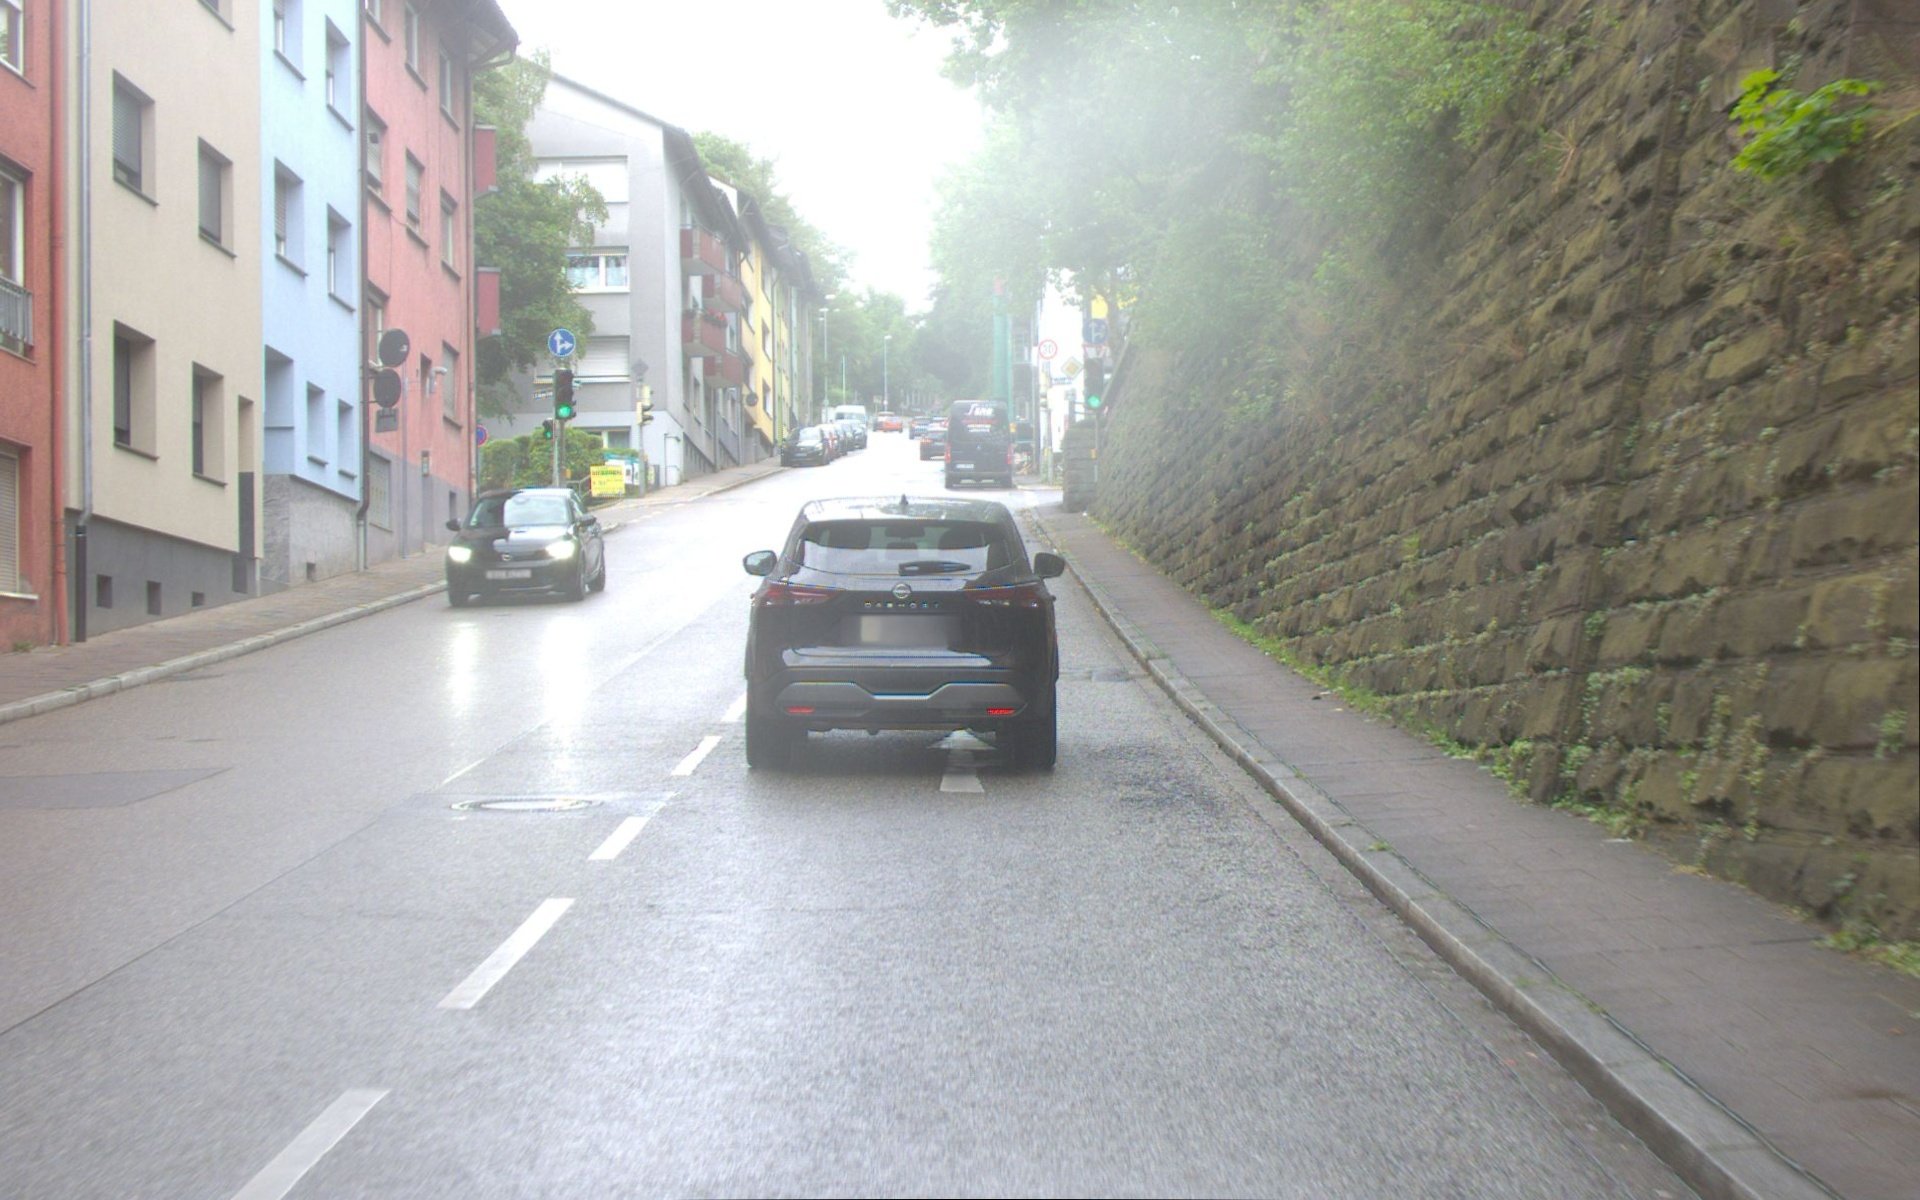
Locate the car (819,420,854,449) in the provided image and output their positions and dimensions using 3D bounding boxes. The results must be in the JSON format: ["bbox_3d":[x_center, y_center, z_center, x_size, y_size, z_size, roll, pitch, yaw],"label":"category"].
[{"bbox_3d":[-6.867,-9.195,190.984,1.794,1.505,4.000,-1,2,0],"label":"car"}]

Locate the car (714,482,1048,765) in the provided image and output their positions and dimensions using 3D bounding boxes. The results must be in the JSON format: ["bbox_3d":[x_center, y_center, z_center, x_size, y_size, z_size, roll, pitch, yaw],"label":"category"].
[{"bbox_3d":[-0.520,0.101,21.358,1.881,1.588,3.922,0,1,-2],"label":"car"}]

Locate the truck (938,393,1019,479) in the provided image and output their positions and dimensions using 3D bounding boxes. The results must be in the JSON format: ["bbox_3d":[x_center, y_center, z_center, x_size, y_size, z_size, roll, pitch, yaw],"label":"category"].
[{"bbox_3d":[0.528,-4.838,101.929,2.289,2.431,4.453,-1,2,0],"label":"truck"}]

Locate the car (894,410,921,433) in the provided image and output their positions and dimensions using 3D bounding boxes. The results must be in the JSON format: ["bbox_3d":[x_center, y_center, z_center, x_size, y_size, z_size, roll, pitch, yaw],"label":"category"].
[{"bbox_3d":[-3.753,-12.731,245.692,1.794,1.505,4.000,-1,2,0],"label":"car"}]

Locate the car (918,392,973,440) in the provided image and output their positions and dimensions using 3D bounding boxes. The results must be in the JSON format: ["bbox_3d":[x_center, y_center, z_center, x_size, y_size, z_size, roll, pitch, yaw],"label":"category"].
[{"bbox_3d":[-0.480,-6.234,116.820,1.794,1.505,4.500,-1,2,0],"label":"car"}]

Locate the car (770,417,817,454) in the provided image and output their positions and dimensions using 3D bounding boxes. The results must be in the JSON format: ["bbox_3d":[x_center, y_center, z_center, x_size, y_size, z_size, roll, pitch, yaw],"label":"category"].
[{"bbox_3d":[-7.123,-7.031,147.126,1.794,1.505,4.000,-1,2,0],"label":"car"}]

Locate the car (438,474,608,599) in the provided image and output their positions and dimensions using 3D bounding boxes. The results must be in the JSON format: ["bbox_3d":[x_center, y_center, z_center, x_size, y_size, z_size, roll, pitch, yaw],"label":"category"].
[{"bbox_3d":[-5.598,-0.854,44.427,1.714,1.443,3.922,-2,3,-1],"label":"car"}]

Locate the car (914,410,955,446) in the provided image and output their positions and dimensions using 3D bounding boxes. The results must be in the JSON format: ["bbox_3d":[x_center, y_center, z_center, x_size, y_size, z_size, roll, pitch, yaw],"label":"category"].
[{"bbox_3d":[-1.134,-7.766,155.775,1.794,1.505,4.000,-1,2,0],"label":"car"}]
